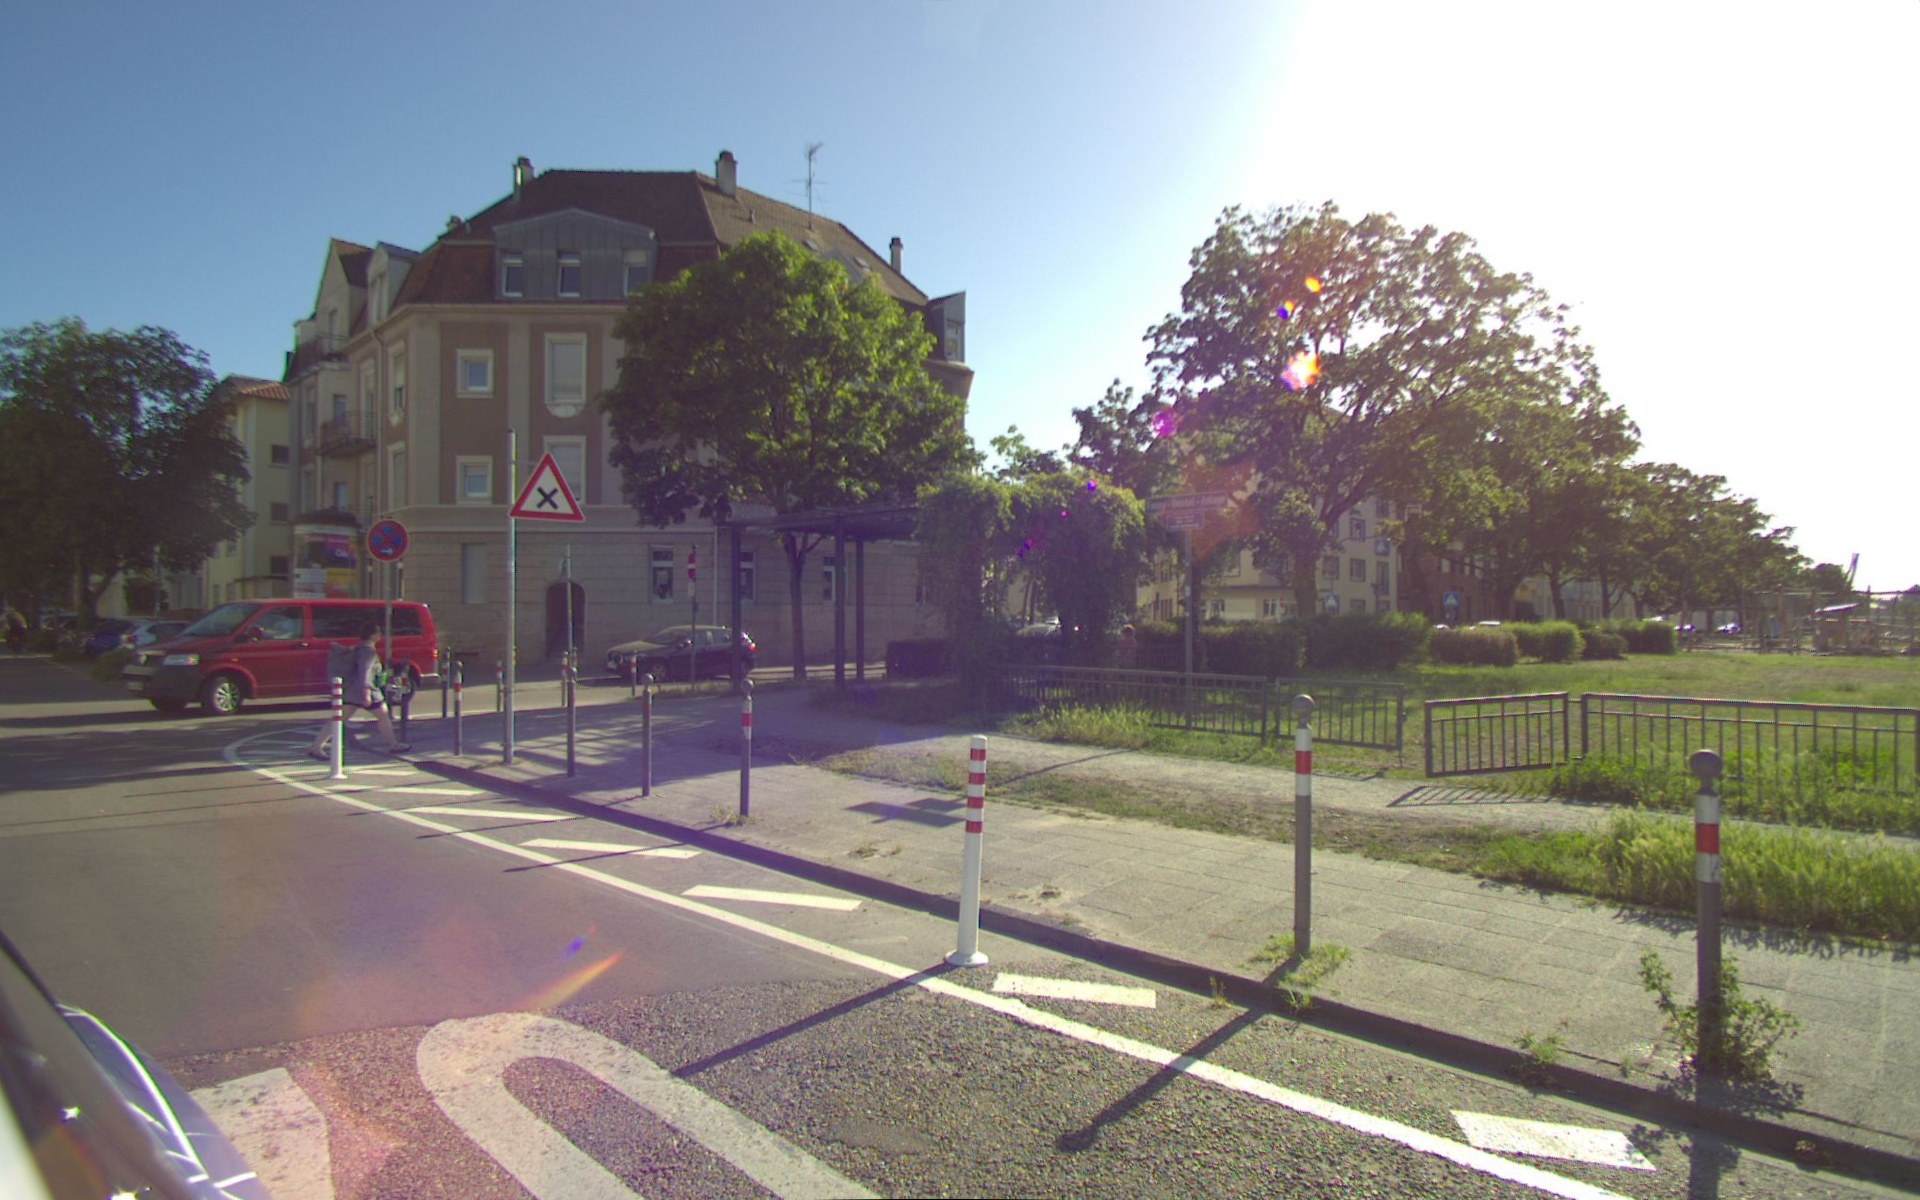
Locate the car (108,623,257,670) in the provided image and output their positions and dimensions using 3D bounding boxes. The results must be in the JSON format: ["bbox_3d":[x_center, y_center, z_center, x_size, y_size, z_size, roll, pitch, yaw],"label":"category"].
[{"bbox_3d":[-26.188,1.525,34.173,1.691,1.455,3.739,-1,-1,41],"label":"car"}]

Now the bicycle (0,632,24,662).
[{"bbox_3d":[-36.361,1.797,38.766,0.635,1.117,2.066,2,-2,-45],"label":"bicycle"}]

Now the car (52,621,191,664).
[{"bbox_3d":[-31.767,1.582,38.441,1.686,1.506,3.751,-1,-1,31],"label":"car"}]

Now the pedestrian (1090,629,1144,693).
[{"bbox_3d":[2.924,1.120,18.822,0.862,1.147,0.599,2,-2,-45],"label":"pedestrian"}]

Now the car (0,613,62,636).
[{"bbox_3d":[-72.835,1.884,79.388,1.692,1.716,3.481,-1,-1,42],"label":"car"}]

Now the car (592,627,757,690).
[{"bbox_3d":[-7.757,1.545,27.774,1.867,1.494,3.960,3,1,41],"label":"car"}]

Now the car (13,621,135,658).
[{"bbox_3d":[-39.105,1.690,44.736,1.686,1.506,3.751,-1,-1,31],"label":"car"}]

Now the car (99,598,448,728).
[{"bbox_3d":[-12.055,1.008,18.183,1.889,1.975,4.837,1,0,30],"label":"car"}]

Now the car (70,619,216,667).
[{"bbox_3d":[-28.302,1.442,35.123,1.691,1.506,3.739,-1,-1,41],"label":"car"}]

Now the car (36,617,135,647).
[{"bbox_3d":[-46.442,1.683,53.783,1.690,1.506,3.742,-1,-1,39],"label":"car"}]

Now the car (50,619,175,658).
[{"bbox_3d":[-35.961,1.607,43.030,1.686,1.506,3.751,-1,-1,31],"label":"car"}]

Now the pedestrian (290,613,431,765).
[{"bbox_3d":[-7.076,1.015,11.984,0.909,1.687,1.080,-1,-3,27],"label":"pedestrian"}]

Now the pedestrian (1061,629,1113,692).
[{"bbox_3d":[2.417,1.132,19.277,0.833,1.158,0.599,2,-2,-45],"label":"pedestrian"}]

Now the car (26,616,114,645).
[{"bbox_3d":[-49.726,1.675,56.561,1.690,1.506,3.484,-1,-1,39],"label":"car"}]

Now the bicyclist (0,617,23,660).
[{"bbox_3d":[-36.383,1.468,38.797,0.635,1.632,0.637,2,-2,-45],"label":"bicyclist"}]
